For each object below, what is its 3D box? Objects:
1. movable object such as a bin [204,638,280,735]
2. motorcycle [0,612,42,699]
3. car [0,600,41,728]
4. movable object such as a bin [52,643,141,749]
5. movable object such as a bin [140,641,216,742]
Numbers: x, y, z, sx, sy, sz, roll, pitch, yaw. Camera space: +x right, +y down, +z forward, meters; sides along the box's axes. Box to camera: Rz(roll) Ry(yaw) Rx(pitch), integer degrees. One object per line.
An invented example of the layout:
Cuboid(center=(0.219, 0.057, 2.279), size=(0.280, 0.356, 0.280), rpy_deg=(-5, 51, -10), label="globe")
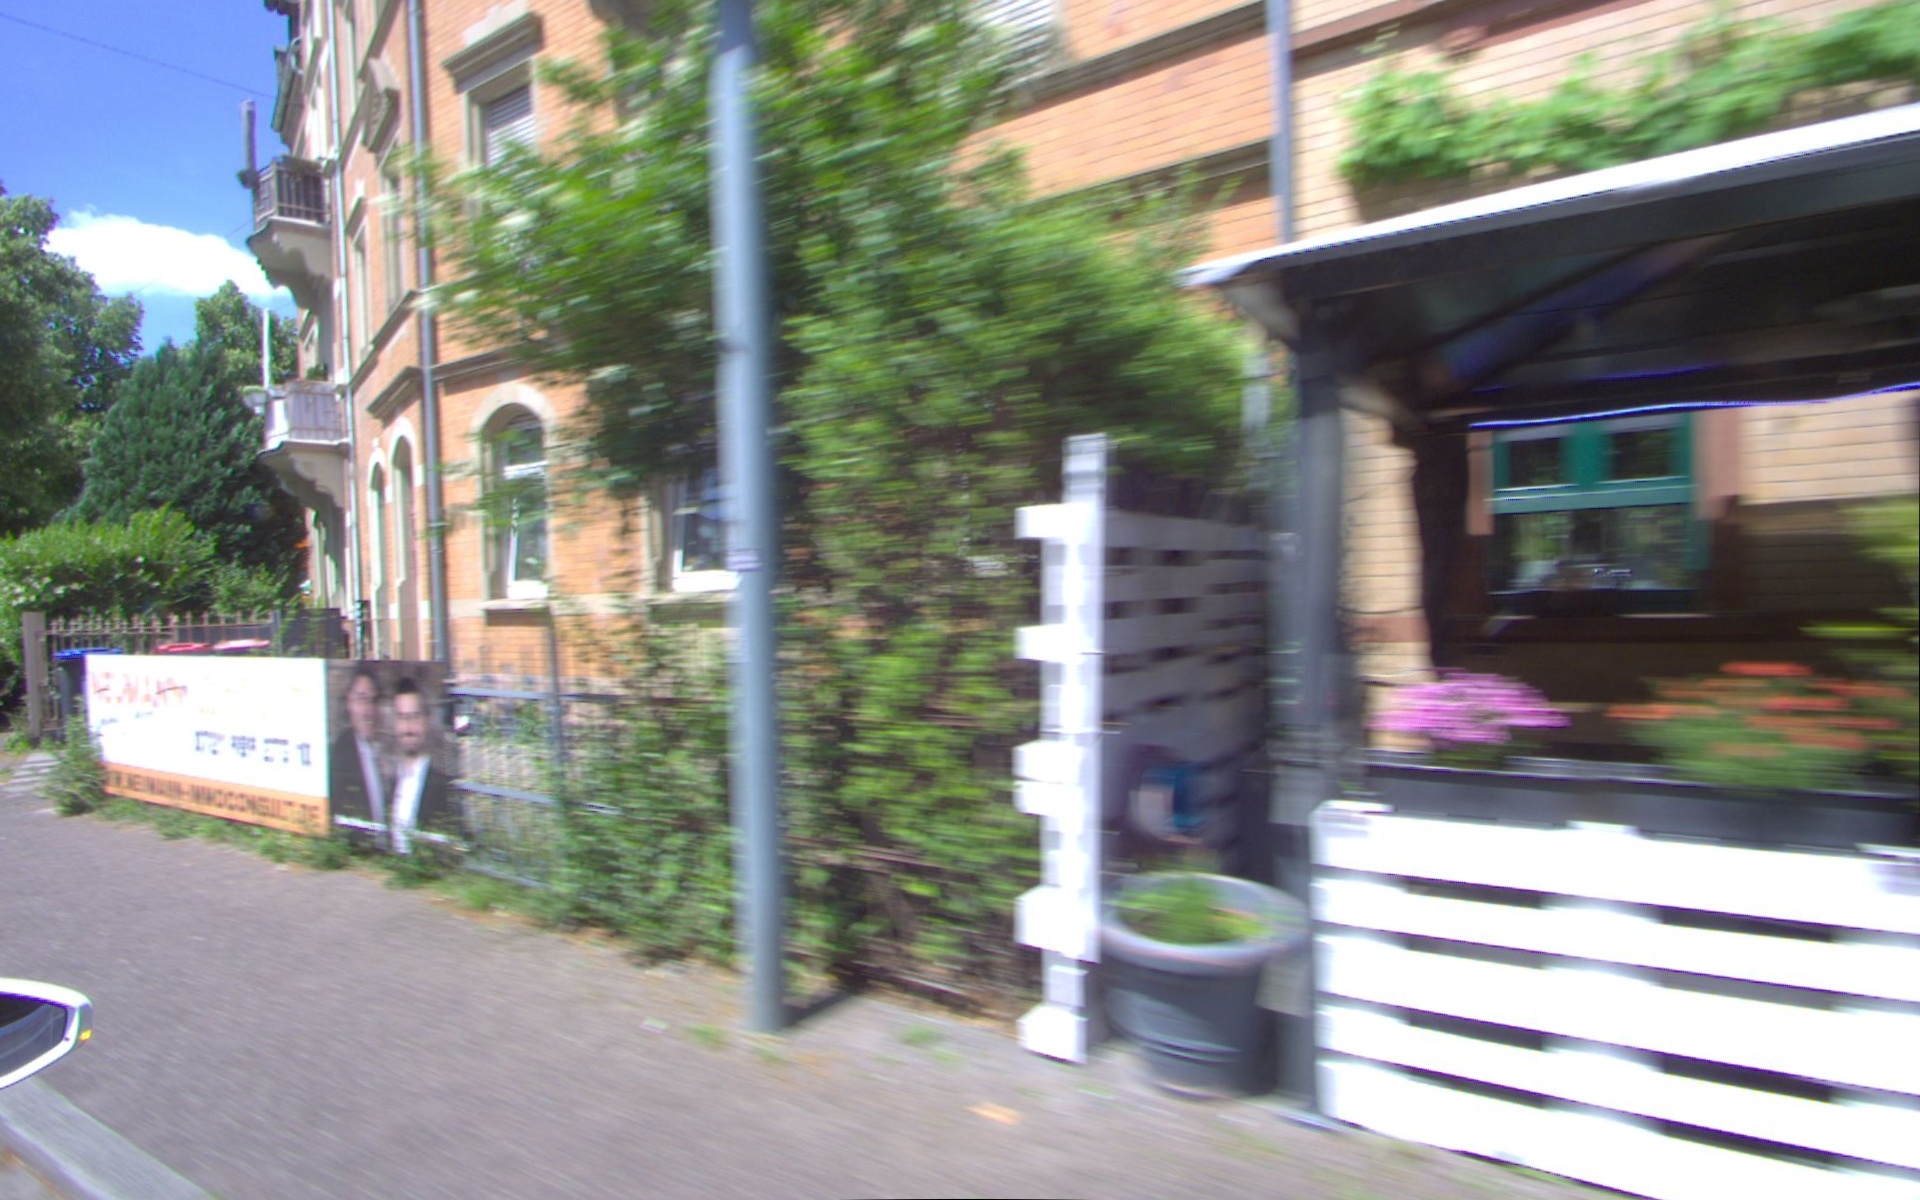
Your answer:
Cuboid(center=(-8.561, 1.006, 11.942), size=(0.697, 1.086, 0.572), rpy_deg=(0, 1, 41), label="movable object such as a bin")
Cuboid(center=(-16.138, 0.903, 16.699), size=(0.921, 1.320, 2.263), rpy_deg=(-2, 2, -36), label="motorcycle")
Cuboid(center=(-13.958, 0.833, 13.498), size=(1.818, 1.569, 5.115), rpy_deg=(-2, 2, -38), label="car")
Cuboid(center=(-9.504, 1.035, 11.022), size=(0.630, 1.086, 0.646), rpy_deg=(0, 1, 42), label="movable object such as a bin")
Cuboid(center=(-9.008, 1.034, 11.532), size=(0.697, 1.086, 0.549), rpy_deg=(0, 1, 41), label="movable object such as a bin")
